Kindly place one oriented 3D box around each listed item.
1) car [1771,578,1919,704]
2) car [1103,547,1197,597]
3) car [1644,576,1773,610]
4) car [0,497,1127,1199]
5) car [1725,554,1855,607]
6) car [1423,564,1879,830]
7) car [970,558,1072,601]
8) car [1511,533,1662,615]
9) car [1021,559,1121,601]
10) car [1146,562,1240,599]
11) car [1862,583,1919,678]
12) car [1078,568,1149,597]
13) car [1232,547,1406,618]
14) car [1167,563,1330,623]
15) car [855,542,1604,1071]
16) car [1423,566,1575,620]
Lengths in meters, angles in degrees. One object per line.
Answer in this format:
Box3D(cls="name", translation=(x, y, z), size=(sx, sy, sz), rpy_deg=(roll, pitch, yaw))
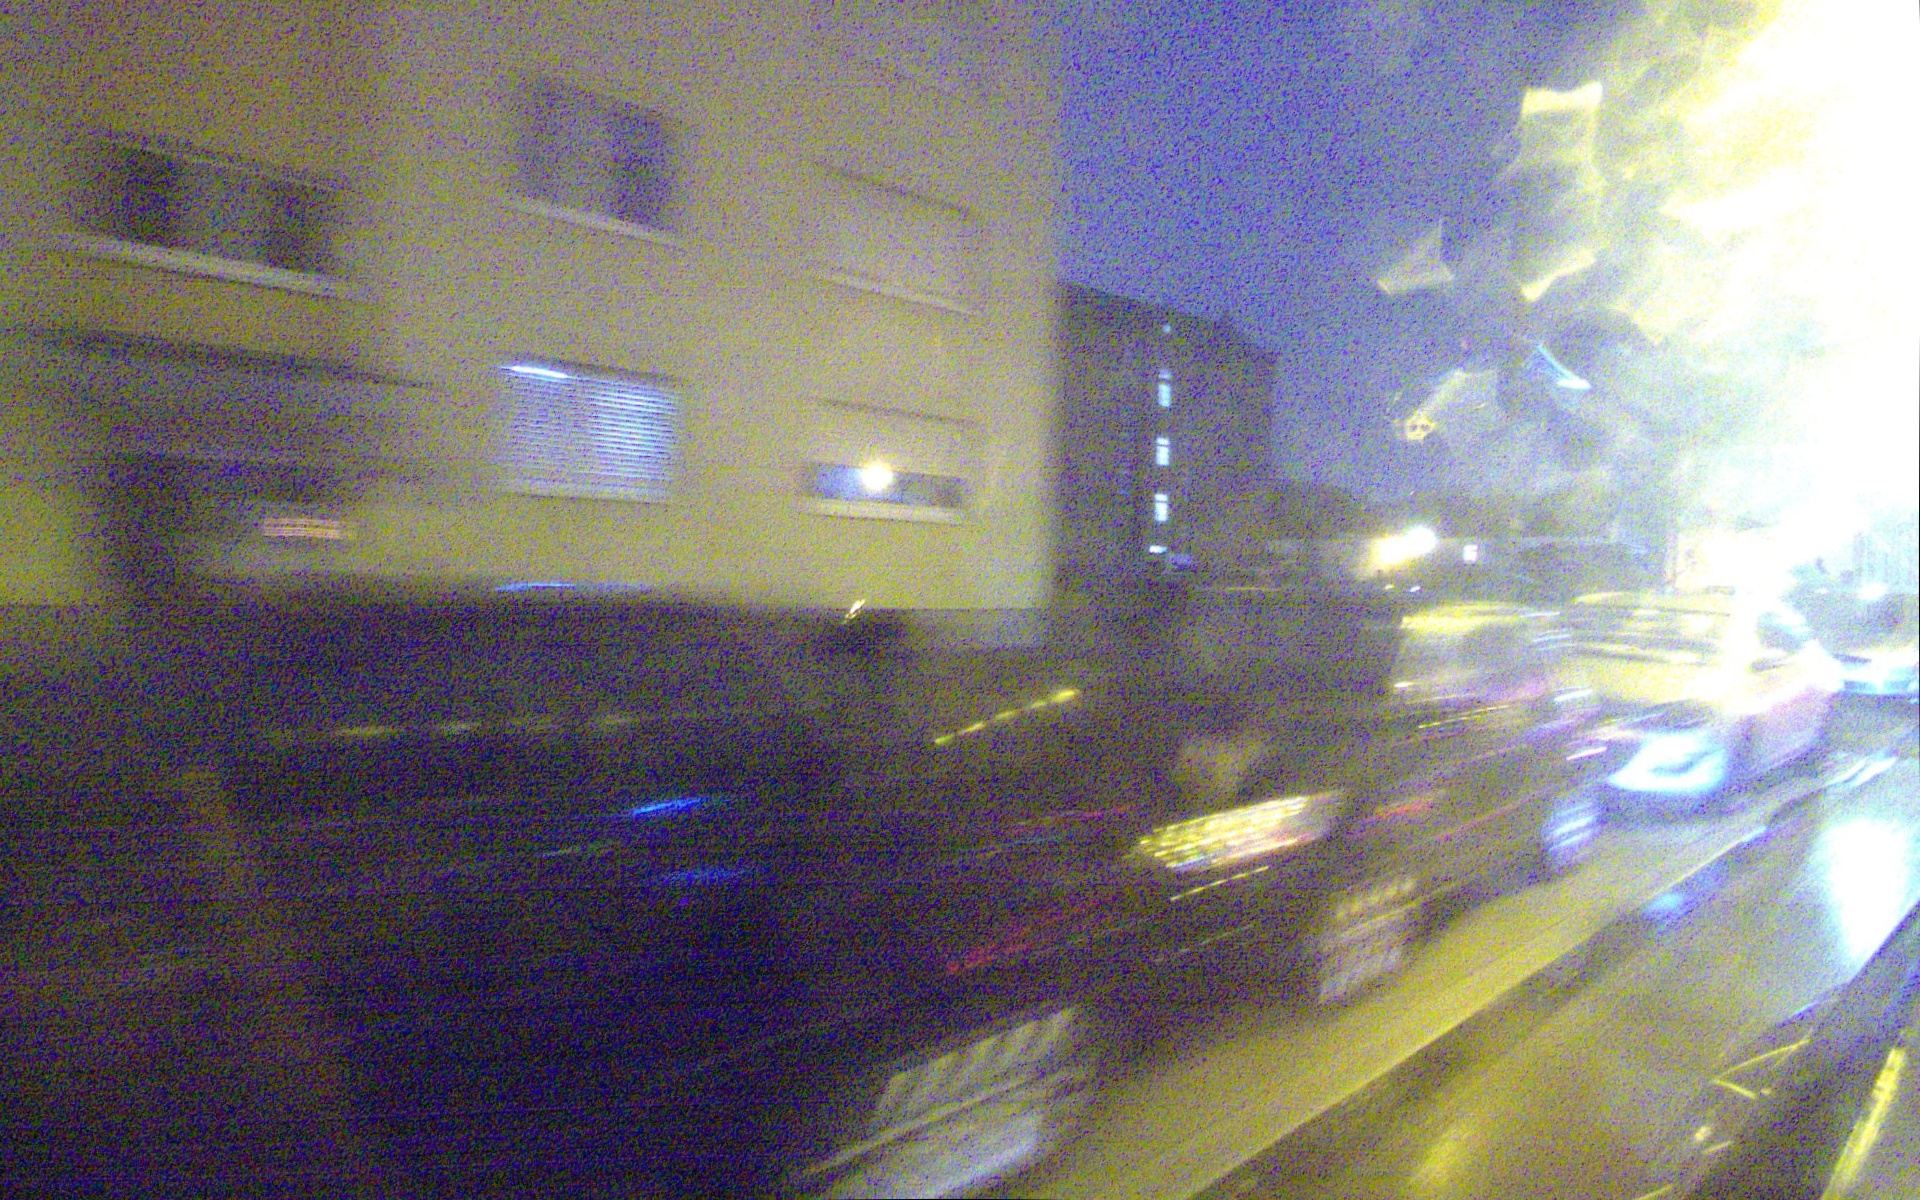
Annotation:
Box3D(cls="car", translation=(13.549, 0.532, 14.987), size=(3.771, 1.610, 1.893), rpy_deg=(0, 2, -44))
Box3D(cls="car", translation=(10.533, -1.569, 56.378), size=(2.258, 2.621, 4.751), rpy_deg=(0, 2, -39))
Box3D(cls="car", translation=(31.714, -0.304, 42.958), size=(1.767, 1.284, 4.030), rpy_deg=(1, 2, -34))
Box3D(cls="car", translation=(-1.580, 0.598, 1.816), size=(3.883, 1.491, 1.607), rpy_deg=(0, 2, -42))
Box3D(cls="car", translation=(36.481, -0.884, 44.574), size=(1.767, 2.196, 4.030), rpy_deg=(1, 2, -34))
Box3D(cls="car", translation=(5.789, 0.557, 8.222), size=(4.699, 1.567, 1.799), rpy_deg=(0, 2, -40))
Box3D(cls="car", translation=(2.185, -0.759, 36.924), size=(1.636, 1.474, 3.662), rpy_deg=(0, 2, -40))
Box3D(cls="car", translation=(21.663, -0.919, 35.149), size=(1.767, 2.651, 4.030), rpy_deg=(1, 2, -34))
Box3D(cls="car", translation=(4.172, -0.783, 38.431), size=(1.636, 1.474, 3.662), rpy_deg=(0, 2, -40))
Box3D(cls="car", translation=(9.858, -0.832, 42.977), size=(1.636, 1.474, 3.662), rpy_deg=(0, 2, -40))
Box3D(cls="car", translation=(17.903, 0.534, 18.543), size=(3.557, 1.610, 1.738), rpy_deg=(0, 2, -44))
Box3D(cls="car", translation=(8.324, -0.944, 54.966), size=(1.636, 1.474, 3.663), rpy_deg=(0, 2, -39))
Box3D(cls="car", translation=(9.411, -0.495, 26.823), size=(1.635, 1.728, 4.094), rpy_deg=(1, 2, -36))
Box3D(cls="car", translation=(7.190, -0.222, 25.476), size=(1.636, 1.358, 3.662), rpy_deg=(0, 2, -40))
Box3D(cls="car", translation=(1.547, 0.551, 4.776), size=(3.886, 1.491, 1.606), rpy_deg=(0, 2, -44))
Box3D(cls="car", translation=(16.121, -0.252, 30.374), size=(1.636, 1.474, 3.662), rpy_deg=(0, 2, -40))
